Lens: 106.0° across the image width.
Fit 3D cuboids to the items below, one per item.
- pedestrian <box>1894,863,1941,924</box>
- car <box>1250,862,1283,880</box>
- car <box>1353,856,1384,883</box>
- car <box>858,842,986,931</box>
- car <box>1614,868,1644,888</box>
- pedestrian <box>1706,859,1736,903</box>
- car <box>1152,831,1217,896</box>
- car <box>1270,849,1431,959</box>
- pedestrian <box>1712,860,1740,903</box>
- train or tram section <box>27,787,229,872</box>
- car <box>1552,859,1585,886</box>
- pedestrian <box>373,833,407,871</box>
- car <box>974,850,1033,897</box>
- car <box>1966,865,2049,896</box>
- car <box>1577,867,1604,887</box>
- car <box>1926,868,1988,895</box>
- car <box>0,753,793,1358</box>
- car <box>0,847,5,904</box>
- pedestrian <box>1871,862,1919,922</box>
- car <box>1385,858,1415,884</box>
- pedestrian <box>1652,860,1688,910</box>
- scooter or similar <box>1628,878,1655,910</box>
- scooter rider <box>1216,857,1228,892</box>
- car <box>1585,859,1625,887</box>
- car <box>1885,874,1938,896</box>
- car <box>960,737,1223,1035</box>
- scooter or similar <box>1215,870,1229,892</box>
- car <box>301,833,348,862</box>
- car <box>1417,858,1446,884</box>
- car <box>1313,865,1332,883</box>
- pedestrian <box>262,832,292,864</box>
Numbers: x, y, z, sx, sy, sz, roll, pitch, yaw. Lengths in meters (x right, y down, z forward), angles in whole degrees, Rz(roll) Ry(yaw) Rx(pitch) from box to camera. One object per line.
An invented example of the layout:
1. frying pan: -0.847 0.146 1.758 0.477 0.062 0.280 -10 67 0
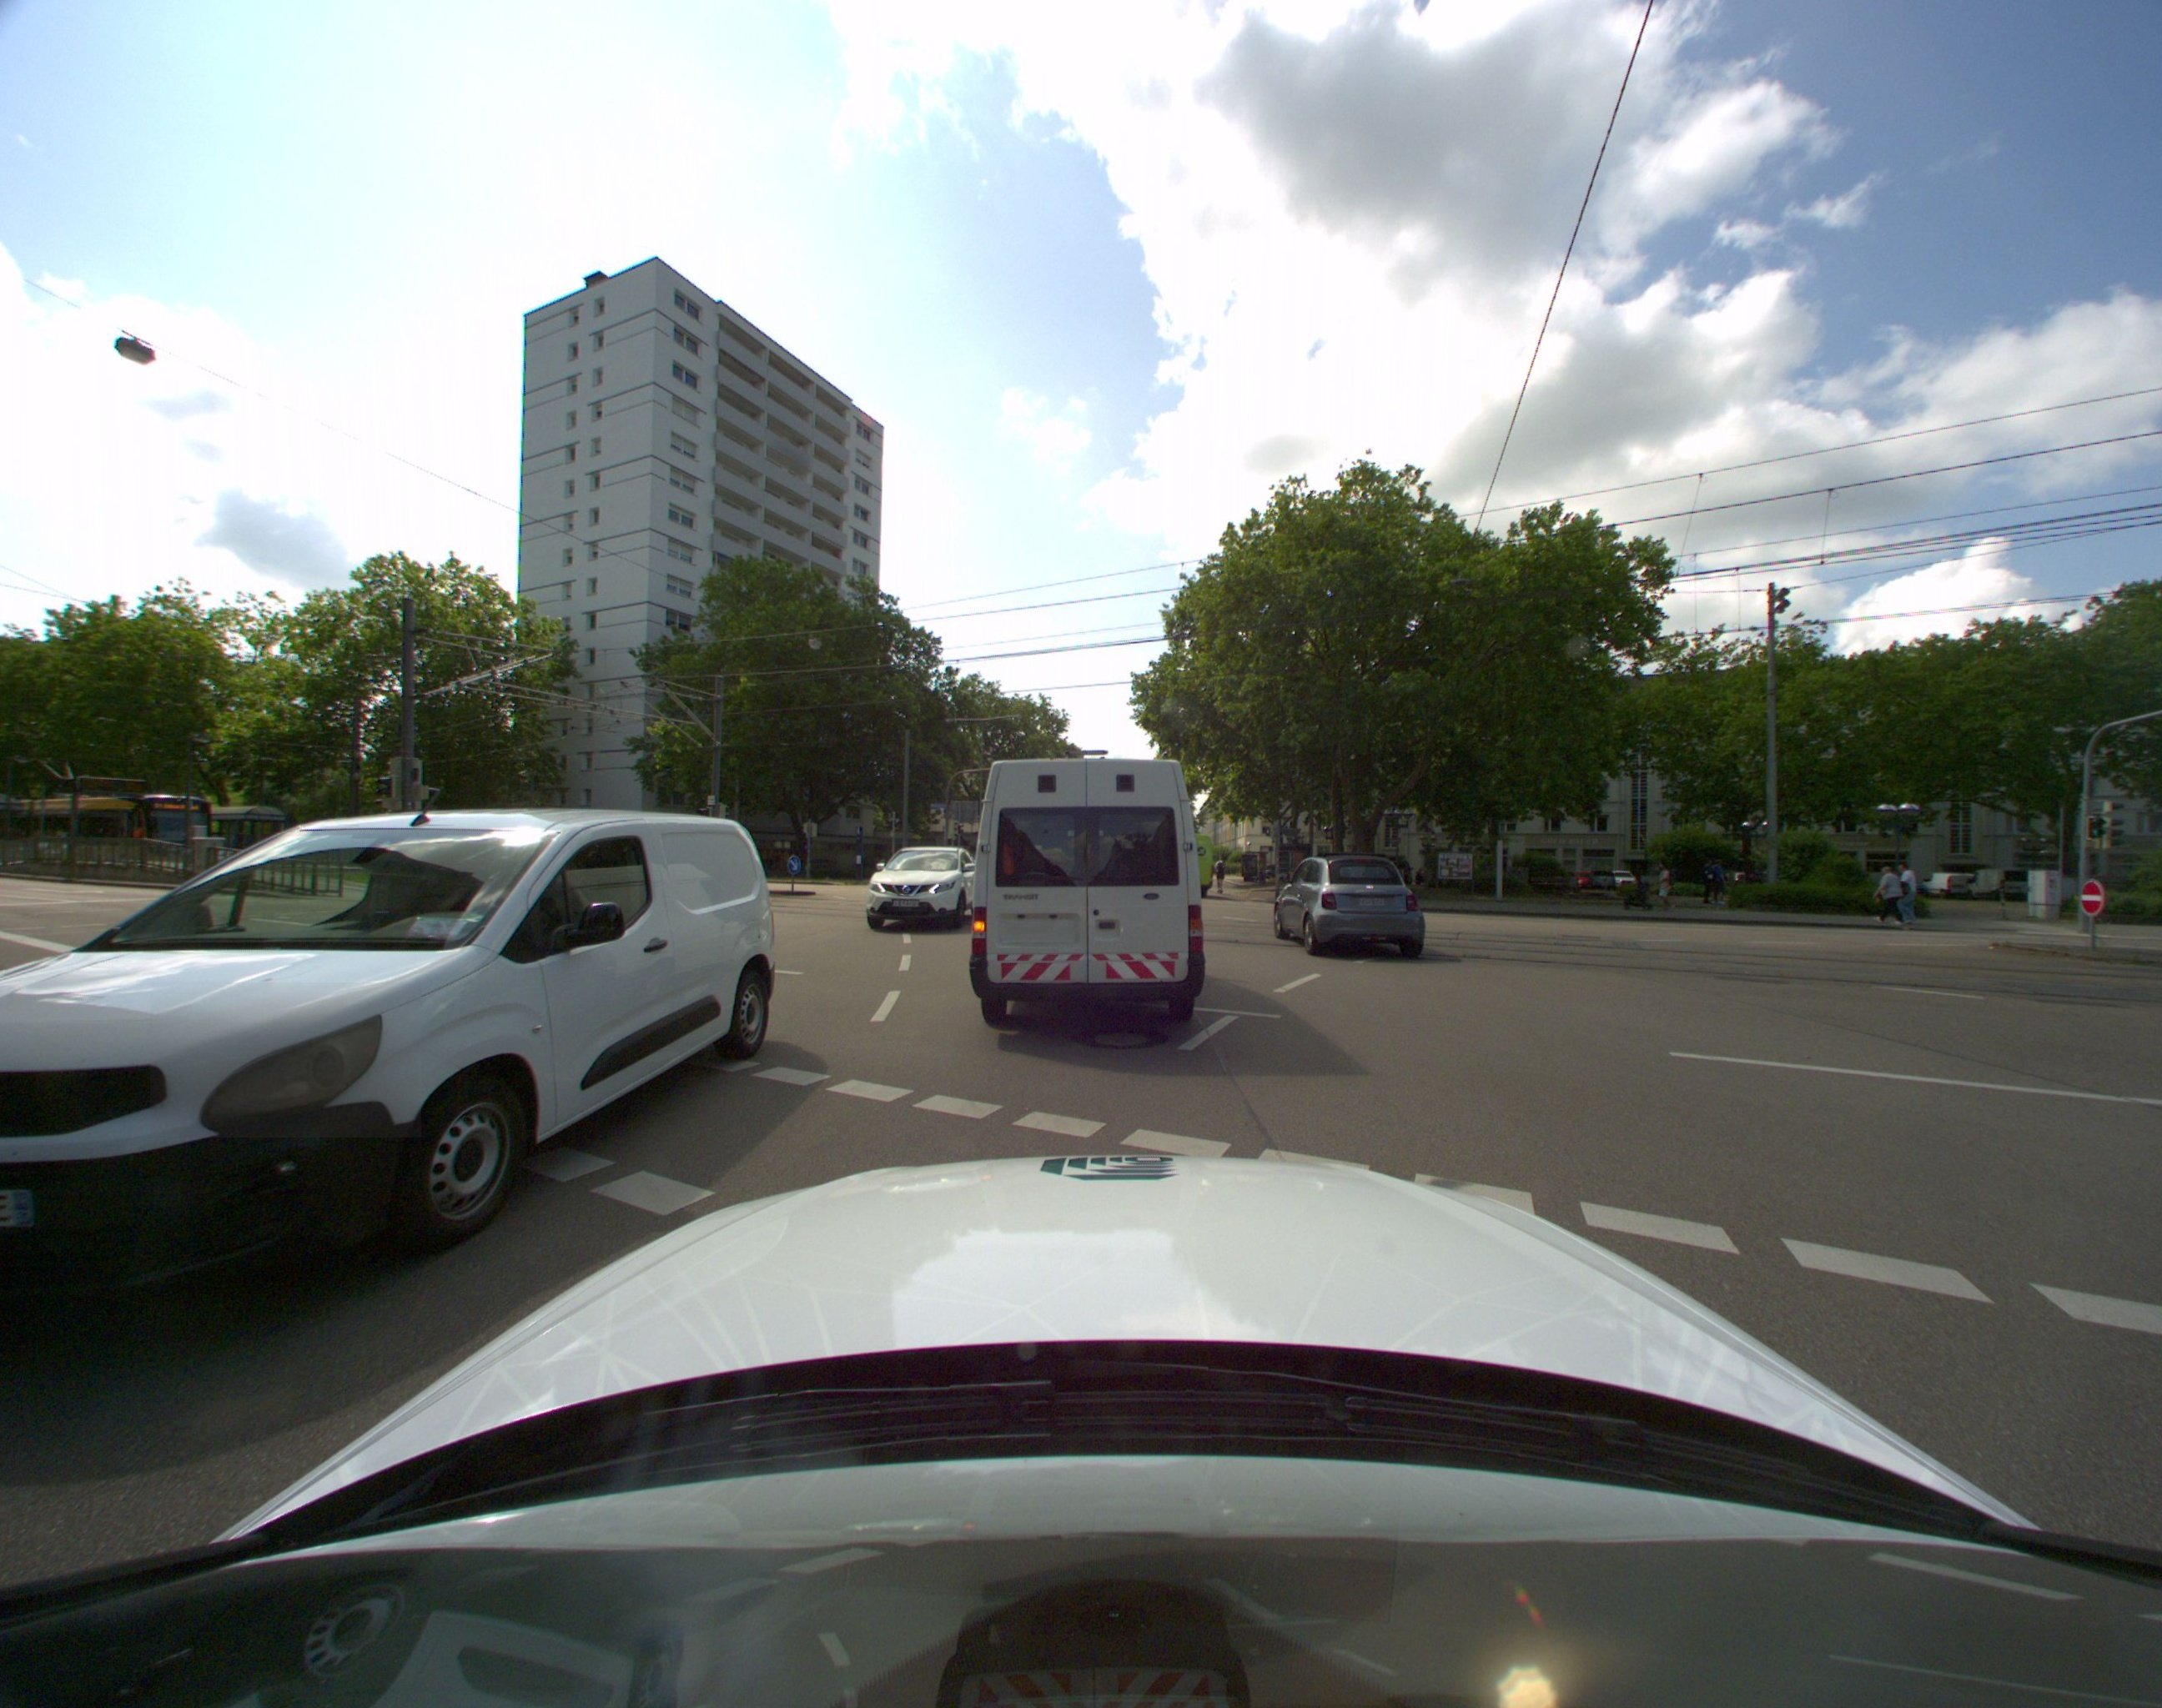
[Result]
1. pedestrian: 24.810 1.151 24.163 0.665 1.764 0.693 1 0 2
2. car: 16.849 1.530 73.686 2.009 1.600 4.564 0 -1 24
3. car: 24.600 1.333 69.594 1.975 2.183 4.282 1 -1 26
4. car: -3.128 0.574 16.814 1.764 1.582 4.021 1 0 1
5. car: 47.578 2.044 70.781 1.722 1.637 4.024 0 -1 28
6. pedestrian: 25.650 1.064 32.646 0.694 1.750 0.606 1 -1 2
7. car: 4.483 0.388 36.387 2.112 2.641 6.327 1 0 0
8. car: 4.255 0.708 13.379 1.684 1.538 3.471 1 0 3
9. pedestrian: 26.824 1.136 33.878 0.694 1.750 0.606 1 -1 2
10. train or tram section: -45.260 -1.097 38.505 12.855 3.584 2.832 1 -1 25
11. car: 38.410 1.426 64.179 1.975 2.014 4.024 0 -1 27
12. pedestrian: -32.634 -0.096 38.463 1.032 1.780 0.856 1 -1 26
13. car: -2.730 0.678 29.489 1.742 1.540 3.931 -1 0 0
14. car: 60.156 1.675 52.971 2.078 1.905 4.518 0 -1 28
15. car: 45.073 2.025 72.086 1.722 1.637 4.024 0 -1 28
16. car: 66.442 2.060 61.870 1.975 1.964 4.024 0 -1 28
17. car: -3.263 0.568 4.526 1.806 1.775 4.283 0 1 0
18. car: -28.876 0.510 20.326 3.599 1.438 1.648 1 -1 24
19. pedestrian: 24.074 1.120 24.089 0.714 1.722 0.693 1 0 2
20. car: 26.970 1.405 68.791 1.975 2.076 4.023 1 -1 26
21. pedestrian: 20.096 1.049 27.797 0.911 1.646 0.573 1 -1 27
22. scooter or similar: 19.372 1.366 28.160 0.699 1.056 0.494 1 -1 27
23. scooter rider: 7.387 1.073 42.654 0.524 1.812 0.649 1 -1 1
24. car: 40.394 1.450 62.855 1.976 2.014 4.022 0 -1 24
25. car: 64.102 2.368 62.956 1.722 1.637 4.024 0 -1 28
26. car: 0.075 0.249 8.784 2.041 2.333 4.713 1 0 0
27. scooter or similar: 7.376 1.408 42.560 0.547 1.091 1.292 1 0 2
28. car: -72.776 -0.613 78.341 4.225 2.775 1.823 1 -1 25
29. car: 29.016 1.416 67.400 1.975 2.076 4.023 1 -1 26
30. car: 20.103 1.651 67.696 1.454 1.389 3.080 1 -1 17
31. pedestrian: -44.197 -0.320 44.759 0.866 1.775 0.865 0 -1 26
